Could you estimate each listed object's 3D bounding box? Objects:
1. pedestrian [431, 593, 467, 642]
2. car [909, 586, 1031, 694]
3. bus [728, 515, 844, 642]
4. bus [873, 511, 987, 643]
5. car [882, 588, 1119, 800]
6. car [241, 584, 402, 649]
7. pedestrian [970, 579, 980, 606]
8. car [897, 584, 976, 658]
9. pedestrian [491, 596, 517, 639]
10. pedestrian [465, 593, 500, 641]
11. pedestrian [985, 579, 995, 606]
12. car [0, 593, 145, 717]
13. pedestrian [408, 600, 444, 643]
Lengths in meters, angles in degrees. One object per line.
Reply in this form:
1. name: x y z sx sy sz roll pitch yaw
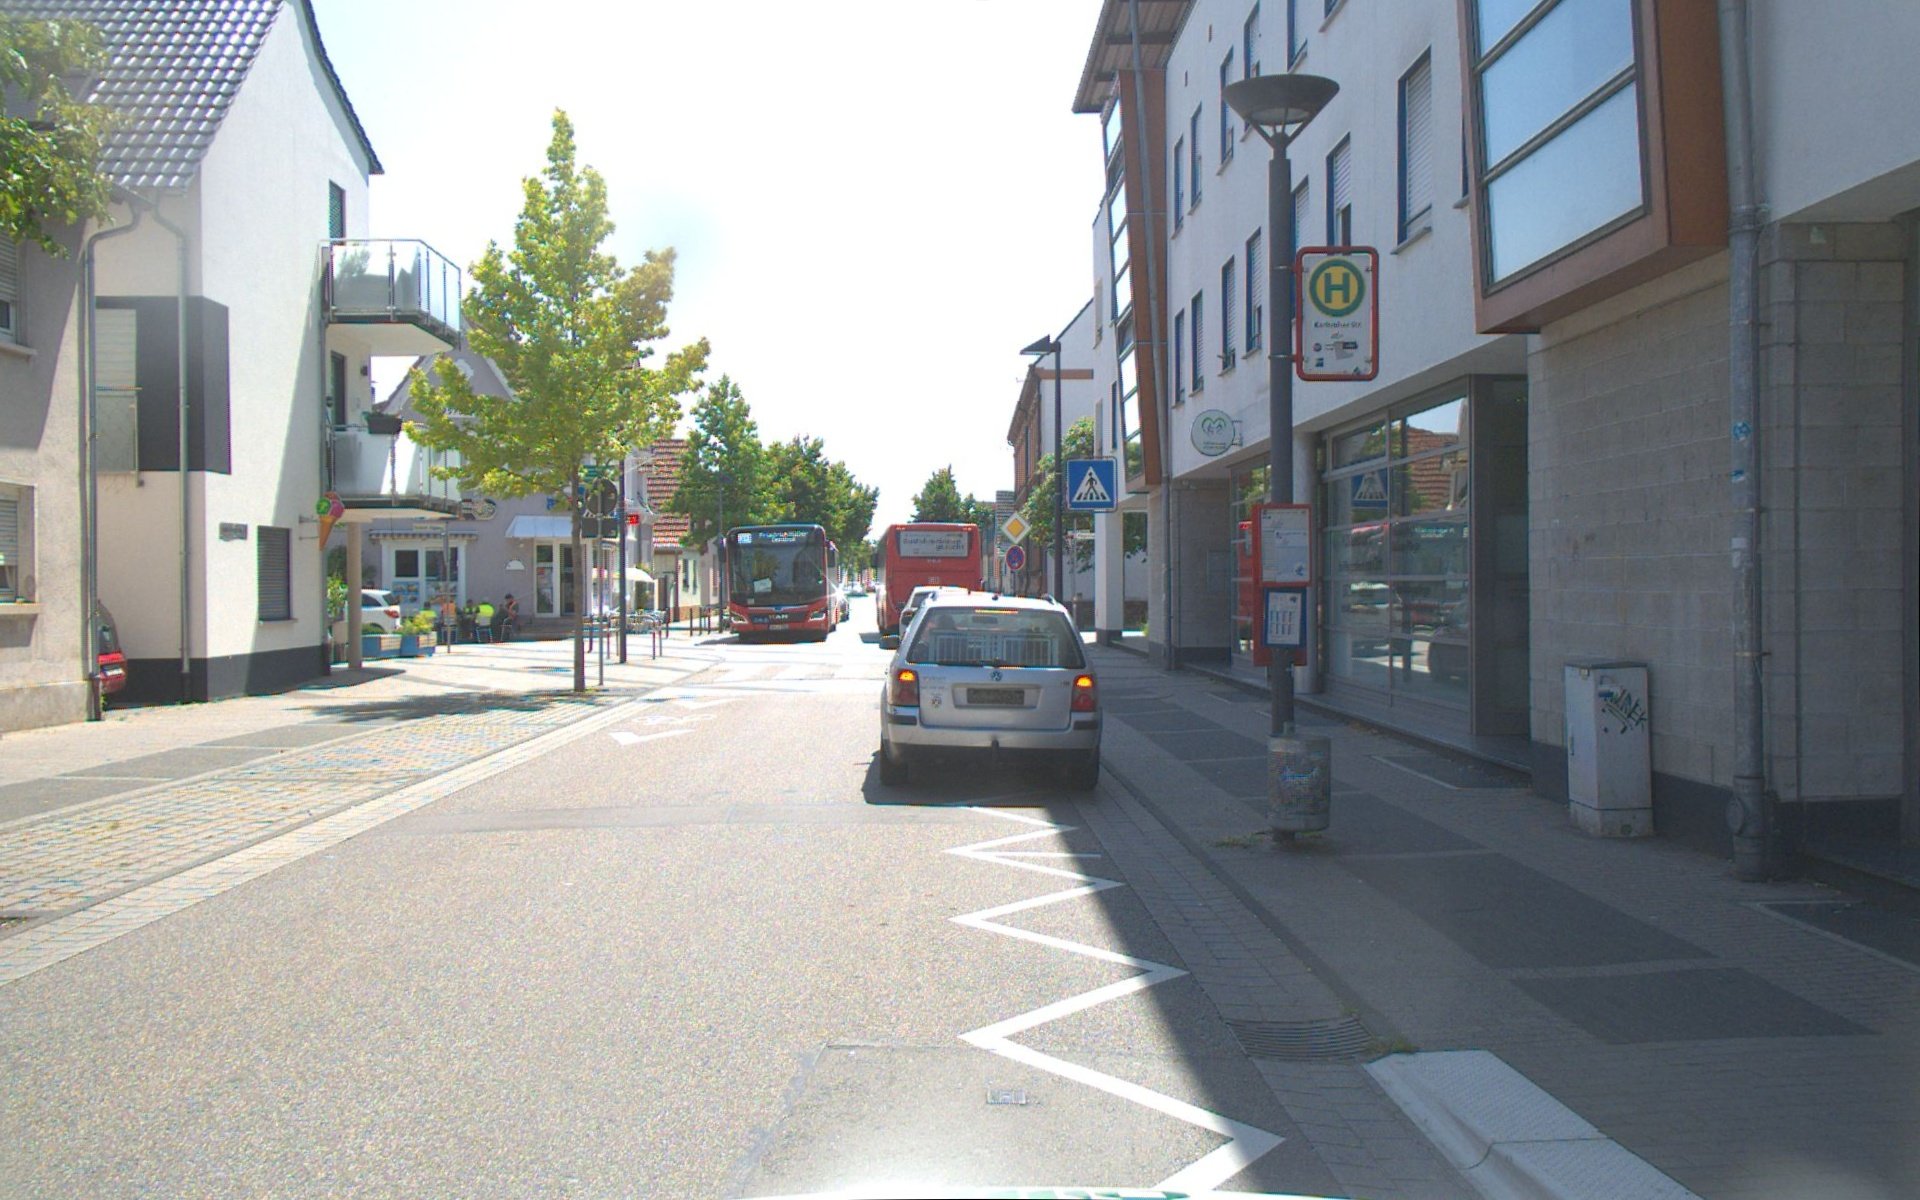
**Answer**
1. pedestrian: -14.320 0.488 46.349 0.631 1.311 0.776 2 0 -45
2. car: 0.088 0.529 24.226 1.643 1.455 3.678 0 0 -2
3. bus: -5.004 -0.617 50.523 2.615 3.178 17.795 0 0 -3
4. bus: -1.092 -0.604 48.512 2.686 3.356 12.695 0 0 -4
5. car: 0.235 0.652 13.549 1.643 1.455 3.678 2 0 -2
6. car: -16.841 0.415 43.785 3.856 1.572 1.510 -1 2 -19
7. pedestrian: 0.982 -0.472 106.337 0.594 1.696 0.789 0 0 -3
8. car: -0.491 0.417 35.093 1.561 1.455 3.679 1 0 -1
9. pedestrian: -13.039 0.491 47.295 0.610 1.199 0.696 0 0 -6
10. pedestrian: -13.323 0.476 46.147 0.631 1.311 0.776 2 0 -45
11. pedestrian: 1.904 -0.474 105.283 0.594 1.696 0.789 0 0 -3
12. car: -12.067 0.671 20.609 3.055 1.468 1.585 -1 0 -7
13. pedestrian: -14.675 0.598 45.446 0.631 1.135 0.776 2 0 -45
